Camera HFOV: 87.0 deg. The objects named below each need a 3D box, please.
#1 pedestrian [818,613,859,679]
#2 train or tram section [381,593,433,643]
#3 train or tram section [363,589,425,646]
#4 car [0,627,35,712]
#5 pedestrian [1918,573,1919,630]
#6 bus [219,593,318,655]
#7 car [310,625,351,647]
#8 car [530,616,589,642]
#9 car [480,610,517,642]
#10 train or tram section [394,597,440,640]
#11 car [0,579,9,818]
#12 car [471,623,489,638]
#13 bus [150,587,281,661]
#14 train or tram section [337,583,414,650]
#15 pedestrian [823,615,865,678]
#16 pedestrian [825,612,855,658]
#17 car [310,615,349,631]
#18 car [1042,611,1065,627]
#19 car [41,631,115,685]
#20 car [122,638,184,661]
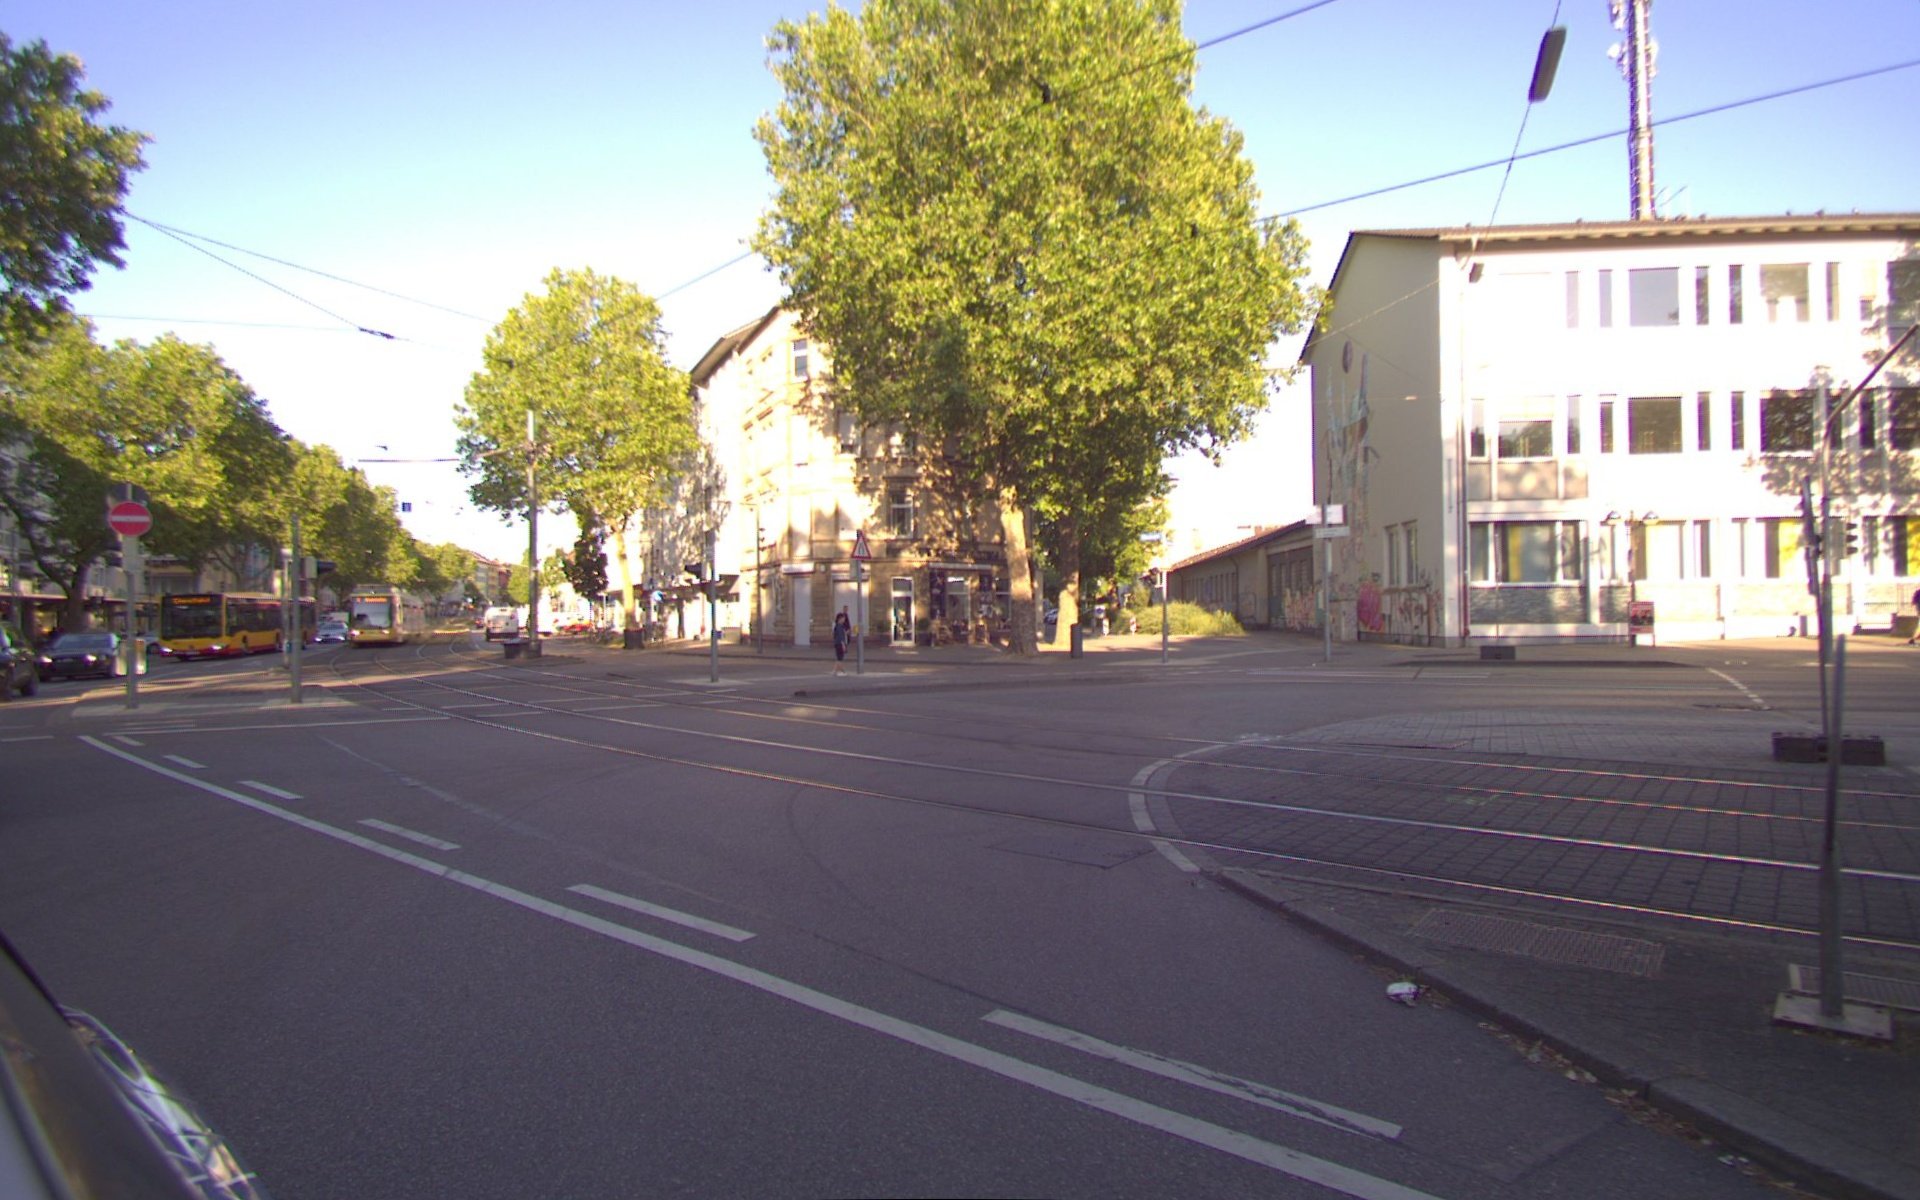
[{"bbox_3d":[-2.893,1.090,24.129,0.792,1.520,0.796,-1,-1,6],"label":"pedestrian"},{"bbox_3d":[-42.454,1.393,77.939,2.830,3.514,10.372,-1,-1,-25],"label":"train or tram section"},{"bbox_3d":[-38.120,1.188,68.479,2.795,3.514,10.372,-1,-1,-25],"label":"train or tram section"},{"bbox_3d":[-20.681,1.426,20.836,1.819,1.670,4.309,-2,0,-35],"label":"car"},{"bbox_3d":[24.265,0.179,24.738,0.875,1.742,0.806,-1,-1,8],"label":"pedestrian"},{"bbox_3d":[-38.310,1.308,56.421,2.707,3.127,9.528,-1,-1,-23],"label":"bus"},{"bbox_3d":[-46.205,2.609,74.357,1.880,1.486,4.433,-1,0,-24],"label":"car"},{"bbox_3d":[-33.243,2.380,84.200,1.891,1.991,4.614,-2,-1,23],"label":"car"},{"bbox_3d":[-32.018,1.796,70.120,2.131,2.138,4.994,1,-2,-27],"label":"car"},{"bbox_3d":[-46.776,1.591,87.397,2.795,3.514,10.372,-1,-1,-24],"label":"train or tram section"},{"bbox_3d":[-8.901,0.763,7.779,4.296,1.670,1.825,-2,0,40],"label":"car"},{"bbox_3d":[-60.100,3.755,126.617,1.786,1.790,4.012,-1,-1,-28],"label":"car"},{"bbox_3d":[-34.679,1.115,47.588,2.707,3.127,9.528,-1,-1,-22],"label":"bus"},{"bbox_3d":[-33.868,0.972,58.967,2.776,3.514,10.372,-1,-1,-24],"label":"train or tram section"},{"bbox_3d":[-2.861,1.130,24.976,0.793,1.520,0.795,-1,-1,11],"label":"pedestrian"},{"bbox_3d":[-4.731,1.369,39.908,0.800,1.769,0.788,-2,-1,34],"label":"pedestrian"},{"bbox_3d":[-82.007,2.987,131.753,1.870,2.029,3.964,-2,-1,26],"label":"car"},{"bbox_3d":[9.230,1.893,99.966,1.703,1.505,4.001,-1,-1,-2],"label":"car"},{"bbox_3d":[-26.966,1.742,30.977,1.627,1.483,3.713,-1,-2,-41],"label":"car"},{"bbox_3d":[-47.477,2.873,59.592,1.195,1.226,2.605,-1,0,27],"label":"car"}]
